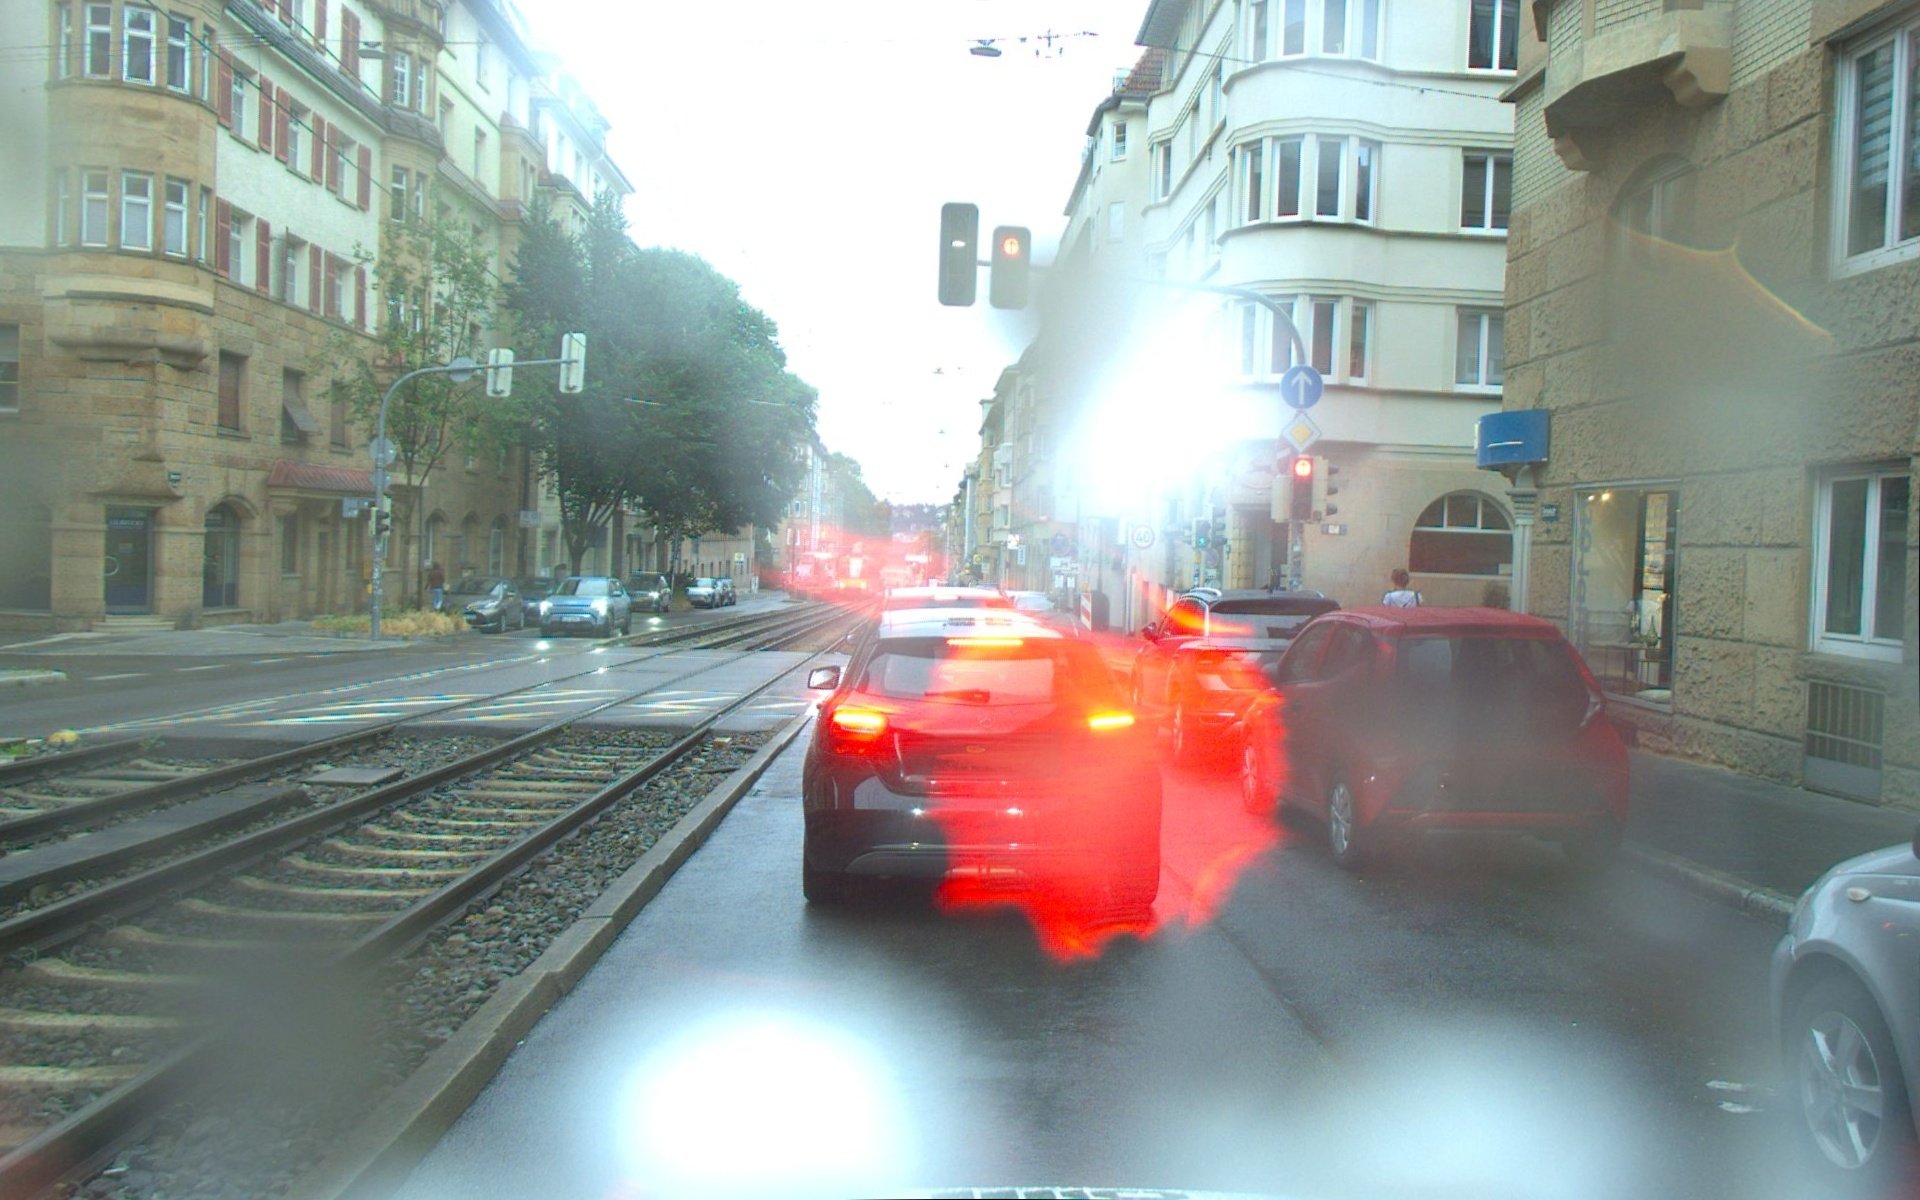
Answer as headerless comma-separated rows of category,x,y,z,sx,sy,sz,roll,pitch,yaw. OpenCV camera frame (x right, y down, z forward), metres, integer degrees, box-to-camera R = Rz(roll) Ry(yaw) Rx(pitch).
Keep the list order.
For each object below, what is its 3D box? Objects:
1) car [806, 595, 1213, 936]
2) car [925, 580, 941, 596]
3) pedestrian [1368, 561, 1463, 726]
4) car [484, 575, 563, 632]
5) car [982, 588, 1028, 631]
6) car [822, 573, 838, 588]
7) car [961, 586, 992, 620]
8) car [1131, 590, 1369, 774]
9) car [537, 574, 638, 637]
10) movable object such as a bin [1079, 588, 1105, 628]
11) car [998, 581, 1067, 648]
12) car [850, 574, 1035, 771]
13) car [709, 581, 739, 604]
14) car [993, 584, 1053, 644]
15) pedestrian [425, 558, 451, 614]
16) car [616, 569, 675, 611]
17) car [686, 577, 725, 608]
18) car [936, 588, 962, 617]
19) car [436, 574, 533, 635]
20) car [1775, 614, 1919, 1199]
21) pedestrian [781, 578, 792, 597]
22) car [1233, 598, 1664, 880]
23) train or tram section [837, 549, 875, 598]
car,0.191,0.736,9.438,1.792,1.483,4.103,1,0,-1
car,-3.447,-1.504,207.970,1.953,1.909,3.999,1,0,-1
pedestrian,5.090,0.476,18.531,0.726,1.778,1.111,1,-1,-1
car,-13.282,0.112,50.507,1.683,1.639,3.914,1,0,-5
car,1.657,0.323,61.536,1.513,1.512,3.547,1,0,-1
car,-11.902,-1.793,151.335,1.349,1.271,3.296,1,0,-2
car,0.715,0.128,73.593,1.268,1.467,2.928,1,0,-1
car,2.630,0.679,15.783,1.513,1.512,3.829,1,0,-1
car,-10.052,0.146,44.912,1.860,1.615,3.972,1,0,-1
movable object such as a bin,4.757,0.299,59.631,0.859,1.413,0.983,1,-1,3
car,1.835,0.350,42.653,1.513,1.618,3.547,1,0,-1
car,-0.176,0.620,15.821,1.533,1.637,3.813,1,0,-1
car,-14.036,-0.441,98.356,1.419,1.354,3.270,1,0,-3
car,1.764,0.376,47.127,1.513,1.618,3.547,1,0,-1
pedestrian,-15.982,-0.425,50.651,0.619,1.702,0.701,1,-1,-9
car,-13.570,-0.412,71.490,1.837,1.767,3.917,1,0,-1
car,-13.667,-0.384,88.951,1.557,1.608,3.917,1,0,-1
car,-0.654,0.120,98.899,1.513,1.664,3.686,1,0,0
car,-13.017,0.131,45.480,1.718,1.579,4.032,1,0,-4
car,3.125,0.791,3.088,1.581,1.493,3.312,0,0,0
pedestrian,-18.772,-1.384,179.311,1.031,1.992,1.043,2,0,0
car,2.906,0.751,10.548,1.609,1.473,3.297,1,0,-3
train or tram section,-8.967,-2.216,143.383,2.726,3.928,10.427,1,0,-1
